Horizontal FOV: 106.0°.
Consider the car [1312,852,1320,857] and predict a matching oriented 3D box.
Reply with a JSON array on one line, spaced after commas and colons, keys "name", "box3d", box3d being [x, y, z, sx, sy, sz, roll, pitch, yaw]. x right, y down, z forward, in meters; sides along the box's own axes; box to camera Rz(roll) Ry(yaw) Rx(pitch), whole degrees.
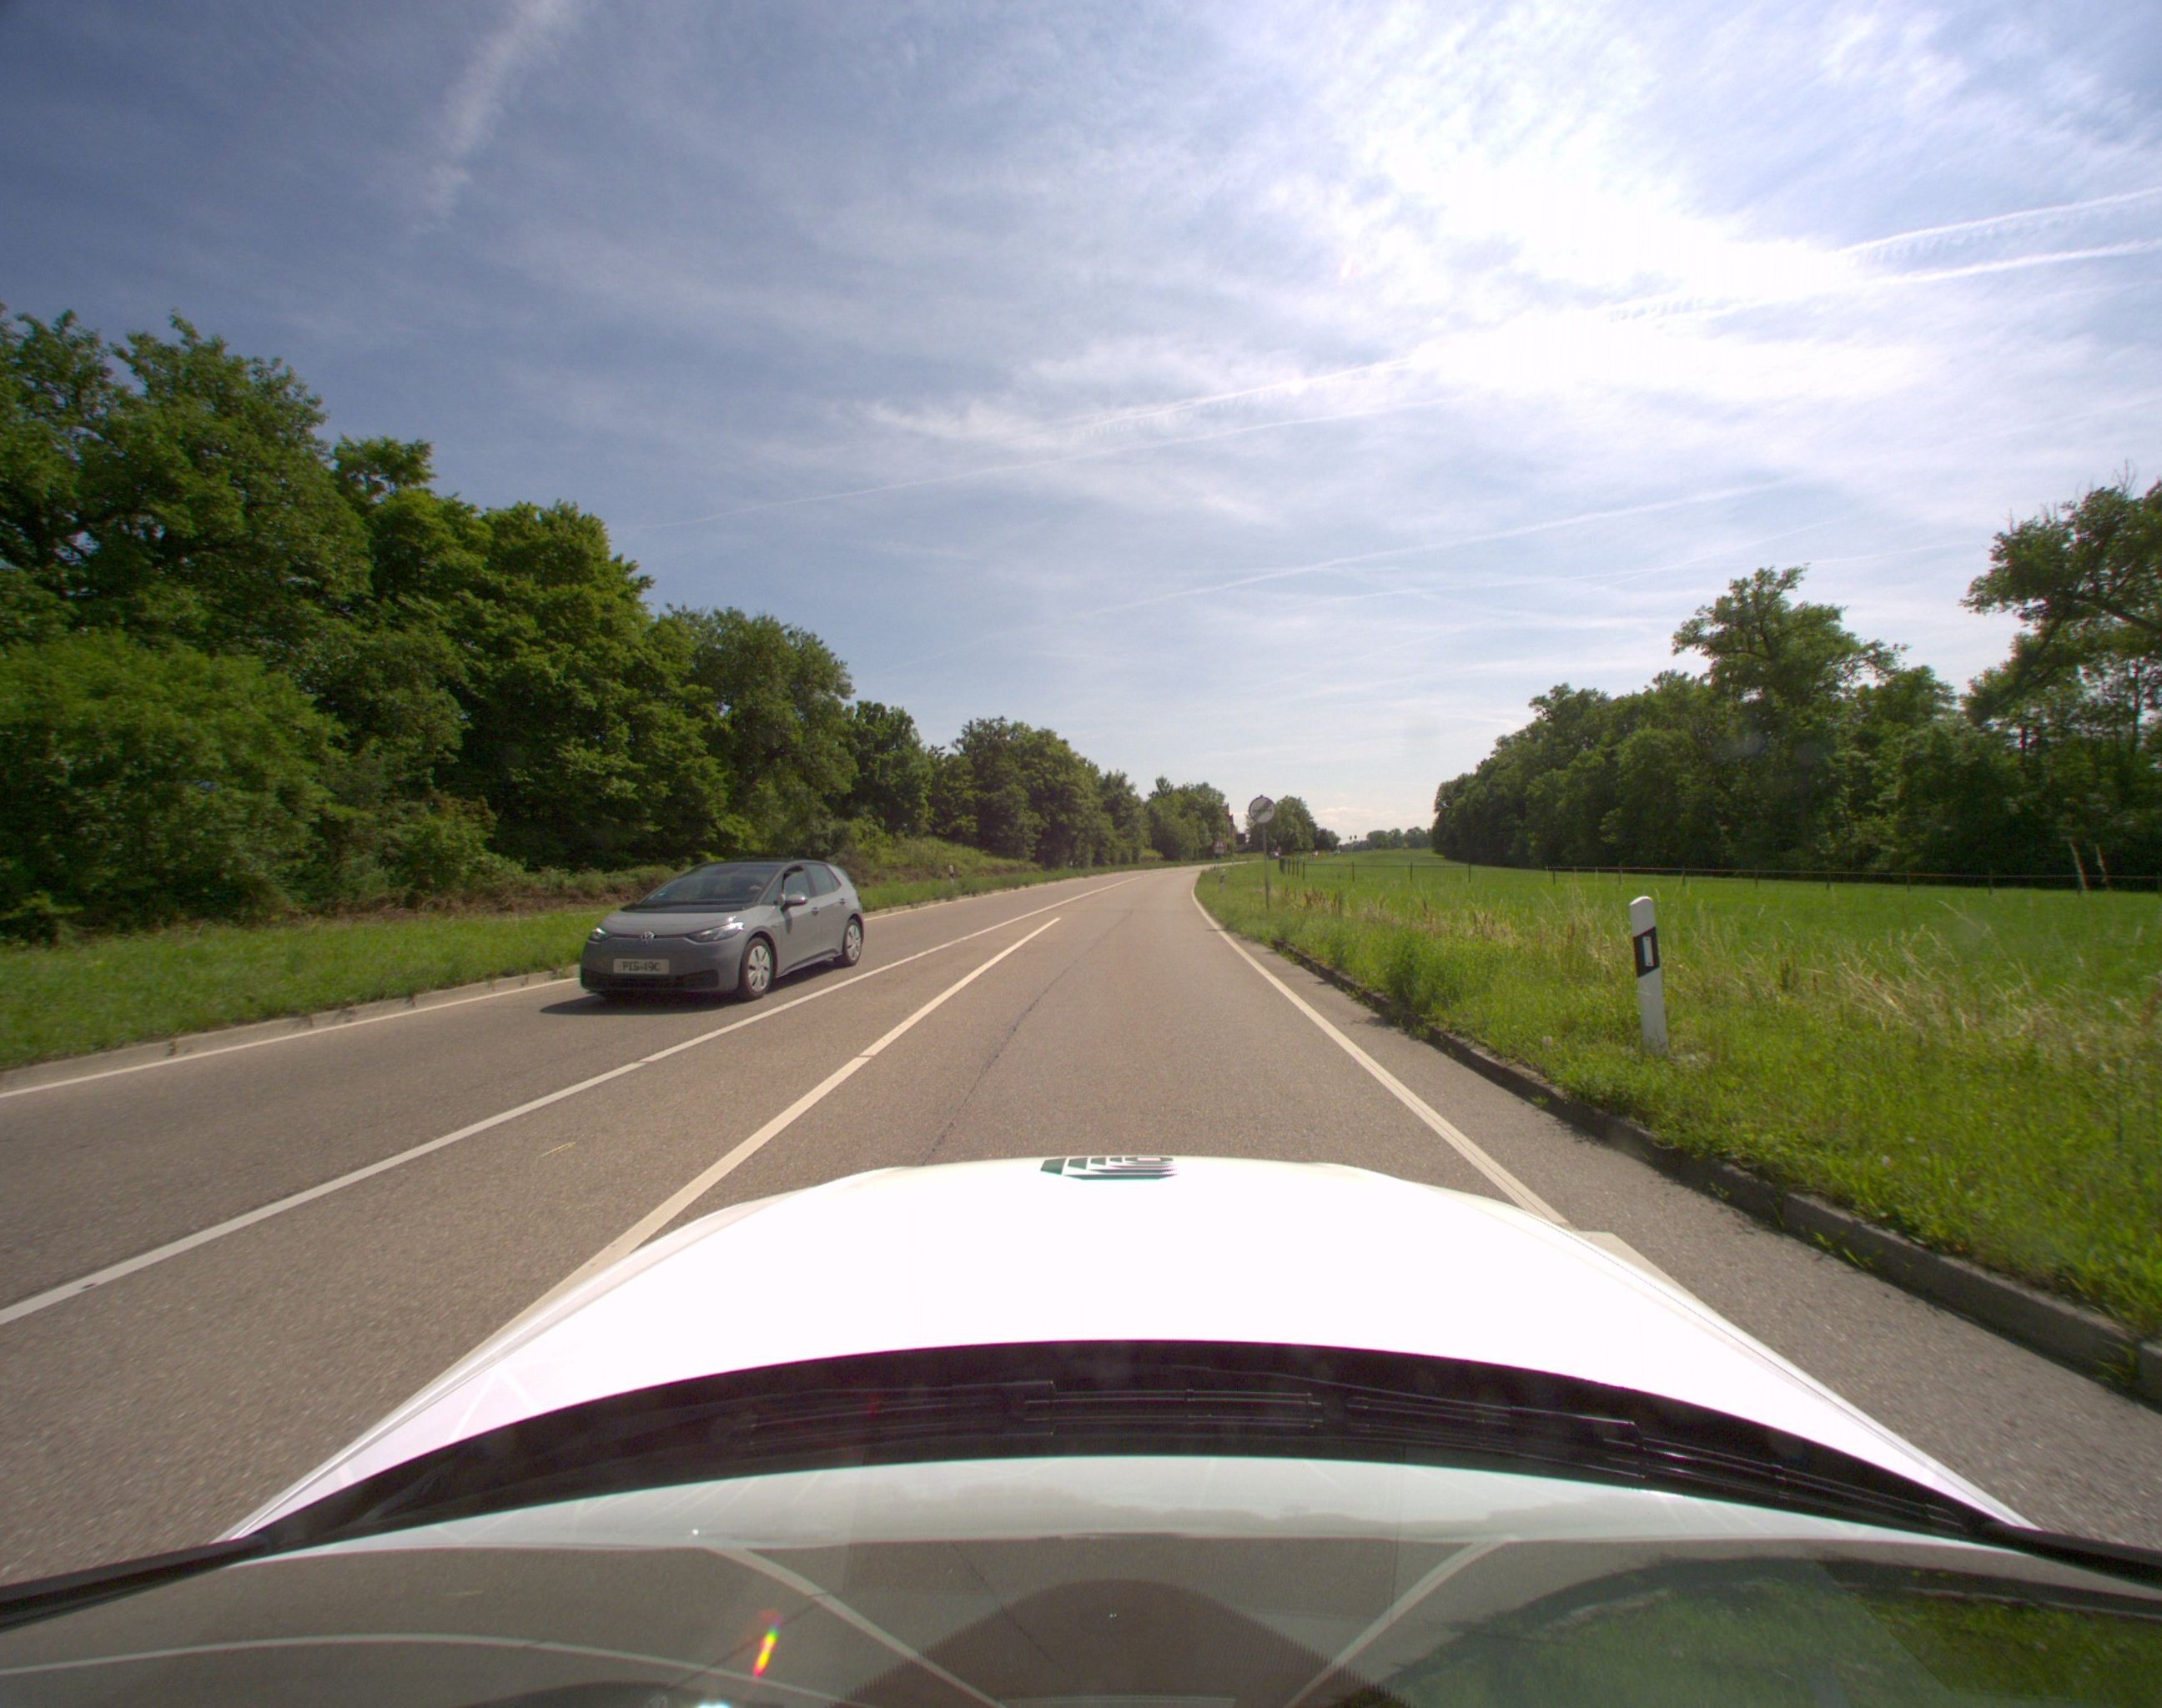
[{"name": "car", "box3d": [66.281, 0.101, 229.733, 1.804, 1.469, 4.022, 0, 0, 24]}]

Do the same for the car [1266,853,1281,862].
[{"name": "car", "box3d": [36.033, 0.602, 152.440, 1.975, 1.574, 4.024, -1, 0, 26]}]

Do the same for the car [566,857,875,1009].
[{"name": "car", "box3d": [-4.217, 0.805, 10.403, 1.746, 1.534, 4.234, 0, 0, 5]}]
